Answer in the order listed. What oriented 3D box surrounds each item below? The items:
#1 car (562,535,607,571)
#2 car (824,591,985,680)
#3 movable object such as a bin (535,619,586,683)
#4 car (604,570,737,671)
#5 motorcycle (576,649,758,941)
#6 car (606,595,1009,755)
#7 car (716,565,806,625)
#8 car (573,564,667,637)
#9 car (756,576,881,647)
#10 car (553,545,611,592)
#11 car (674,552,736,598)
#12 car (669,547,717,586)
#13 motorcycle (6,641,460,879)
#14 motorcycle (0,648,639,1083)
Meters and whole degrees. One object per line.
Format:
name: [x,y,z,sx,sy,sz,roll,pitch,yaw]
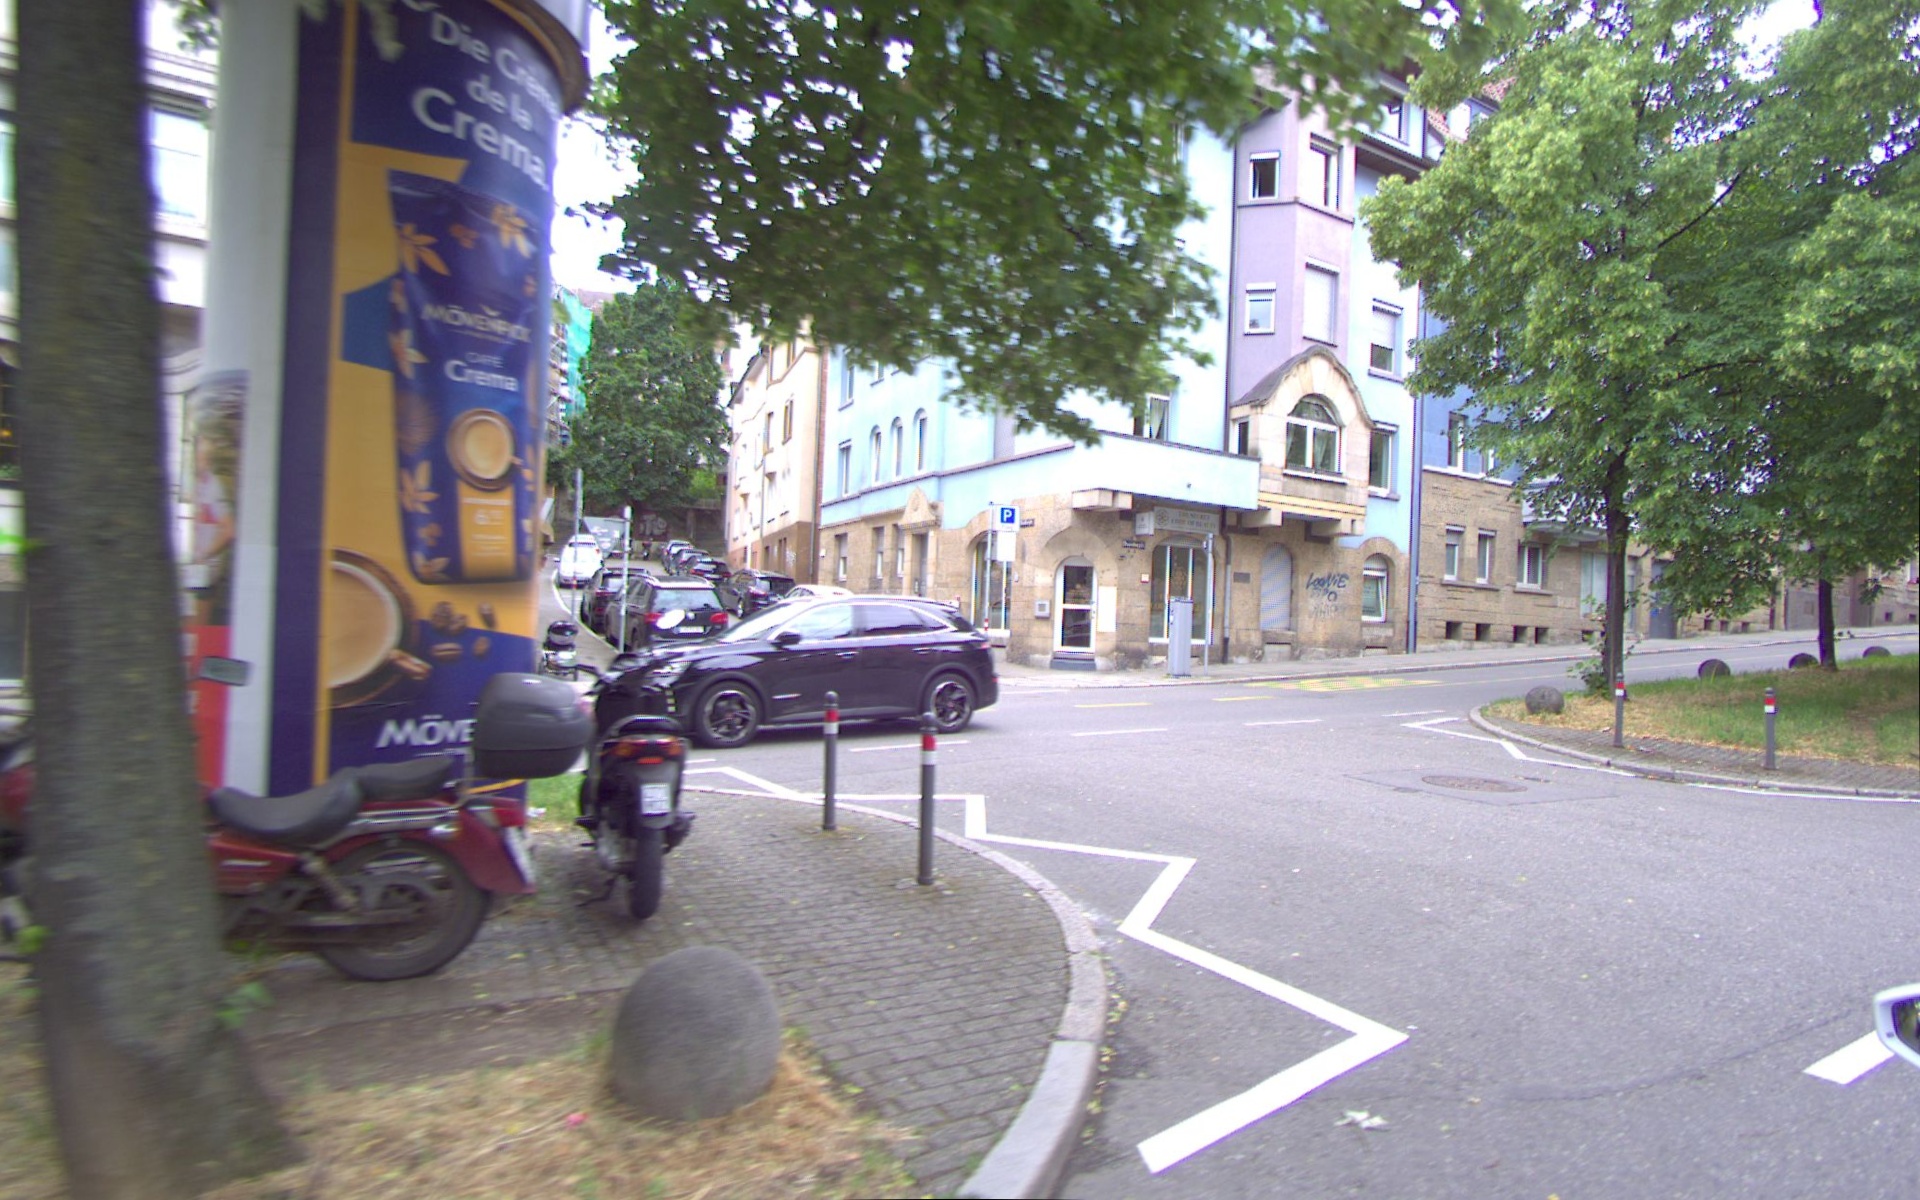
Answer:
car: [-18.157,-2.313,48.670,1.771,1.531,3.984,2,4,-17]
car: [-1.347,0.713,22.486,1.851,1.489,3.973,1,5,-33]
movable object such as a bin: [-6.833,0.857,17.166,0.661,1.007,0.880,1,2,-32]
car: [-6.321,0.362,21.628,1.849,1.723,3.978,1,4,-29]
motorcycle: [-1.530,0.857,5.048,0.544,1.110,1.725,3,-1,-26]
car: [-1.726,0.755,11.849,4.366,1.584,1.804,0,0,-31]
car: [-6.352,-0.205,31.737,1.776,1.531,3.972,2,4,-26]
car: [-8.912,-0.037,26.140,1.777,1.531,3.972,2,4,-26]
car: [-3.919,0.256,27.239,1.944,1.489,4.120,1,4,-30]
car: [-14.684,-1.261,38.917,1.776,1.531,3.974,2,4,-25]
car: [-10.288,-1.038,40.320,1.775,1.531,3.977,2,4,-23]
car: [-12.407,-1.585,46.586,1.773,1.531,3.981,2,4,-20]
motorcycle: [-3.786,0.813,5.455,1.825,1.087,0.747,3,-1,-24]
motorcycle: [-2.379,0.754,3.248,2.447,1.110,0.884,3,-1,-24]
